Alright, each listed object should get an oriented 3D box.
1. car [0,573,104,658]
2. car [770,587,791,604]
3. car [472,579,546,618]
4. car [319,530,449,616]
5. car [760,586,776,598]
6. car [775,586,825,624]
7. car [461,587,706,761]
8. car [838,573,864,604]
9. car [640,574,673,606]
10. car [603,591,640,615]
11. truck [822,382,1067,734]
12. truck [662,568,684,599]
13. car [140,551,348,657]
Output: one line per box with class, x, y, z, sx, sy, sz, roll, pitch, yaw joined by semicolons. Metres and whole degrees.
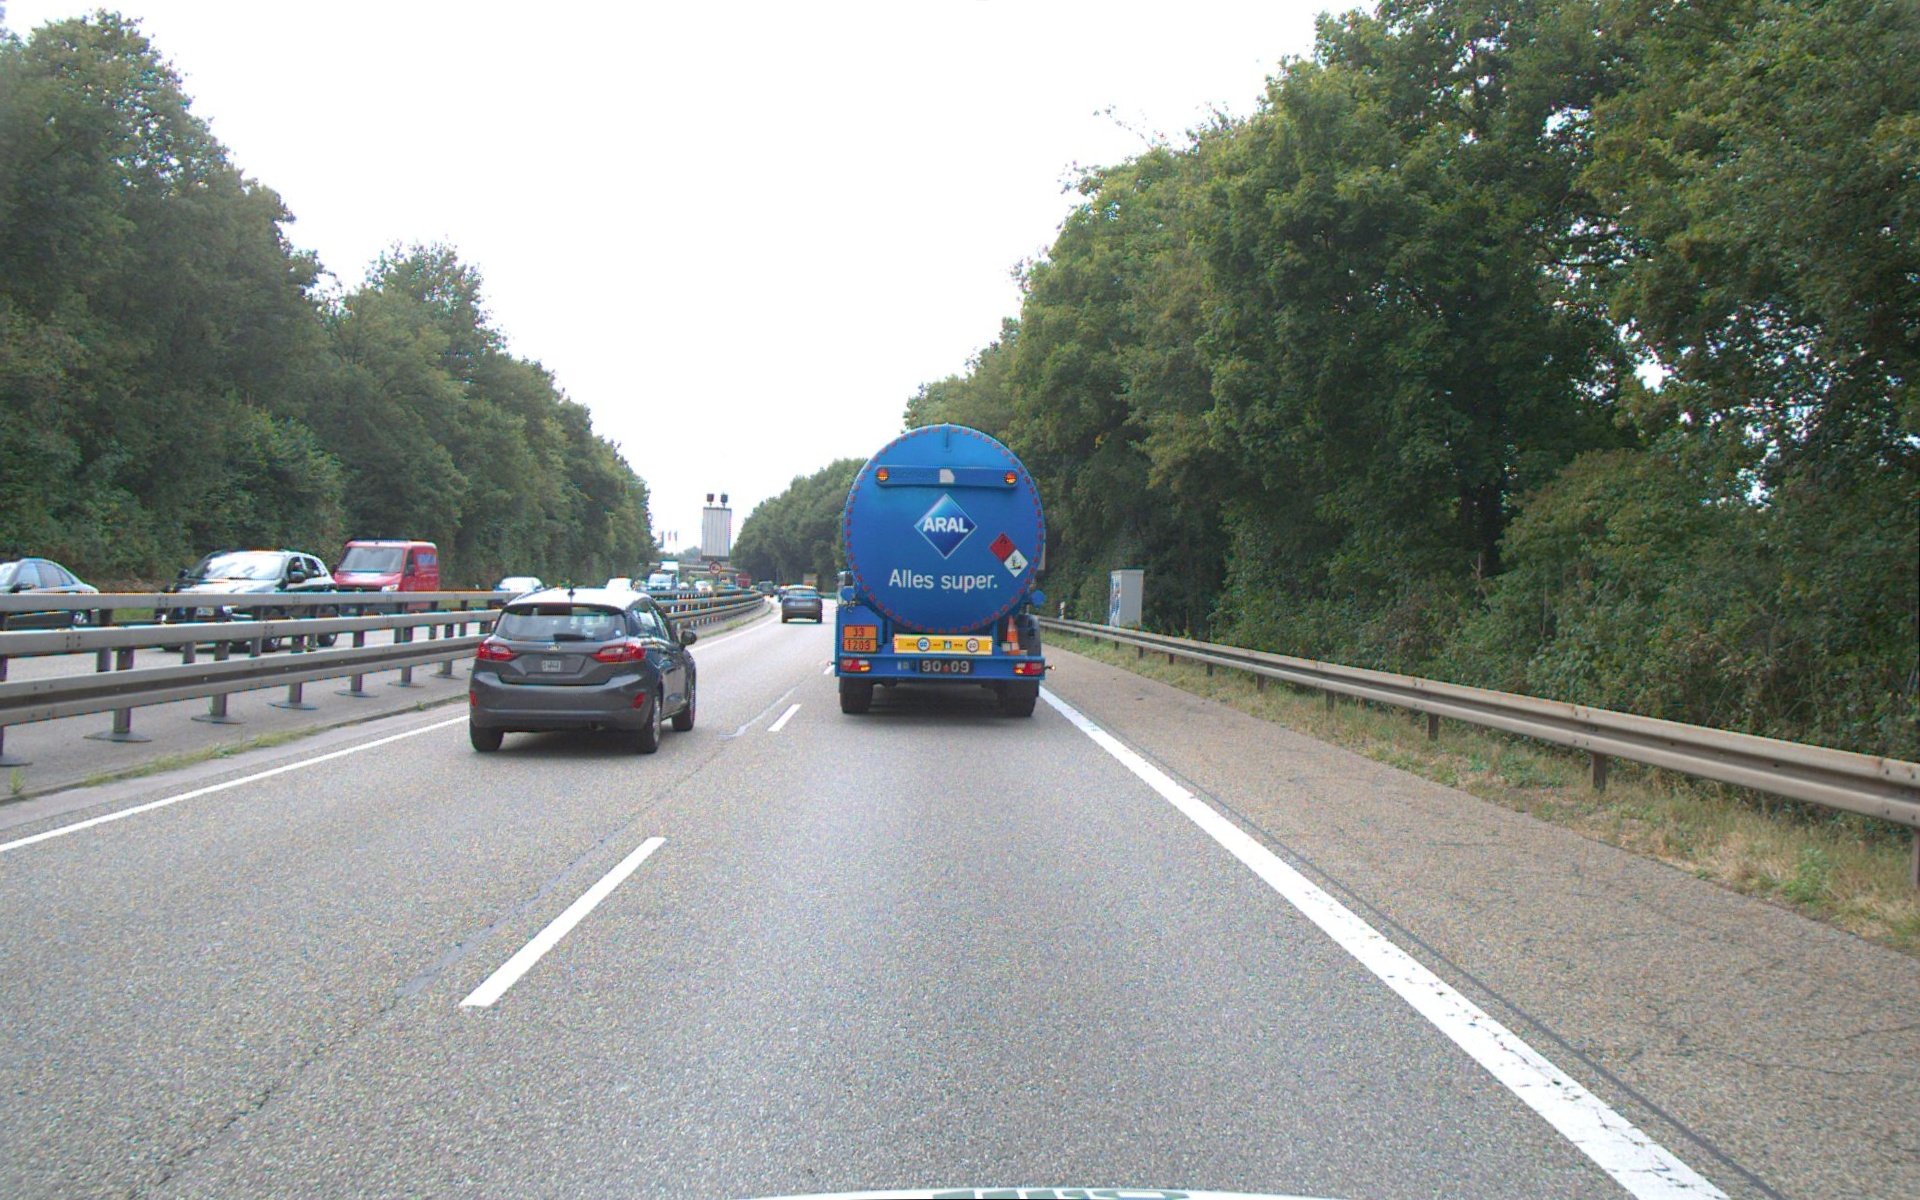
car;-15.669;0.231;26.646;1.739;1.319;4.105;1;0;-2
car;-17.430;-0.468;160.617;1.918;1.595;3.994;1;0;-7
car;-18.530;-0.040;68.127;1.953;1.536;4.503;1;0;-3
car;-16.301;-0.713;47.115;2.025;2.295;5.372;1;0;-3
car;-24.910;-1.027;214.084;1.956;1.579;3.993;1;0;-8
car;-7.056;0.224;73.174;1.789;1.637;4.167;1;0;0
car;-3.585;0.641;16.526;1.791;1.483;4.634;1;0;-6
car;-8.172;-0.819;124.012;1.954;2.284;3.997;1;0;-4
car;-22.373;-0.721;122.190;1.898;2.362;5.299;1;0;-5
car;-20.941;0.182;102.516;1.660;1.492;4.087;1;0;-3
truck;-0.166;-0.488;22.345;2.699;3.914;7.688;0;0;0
truck;-39.233;-2.193;226.022;2.641;4.134;5.314;1;0;-7
car;-11.606;0.066;27.106;1.746;1.590;4.013;1;0;-2
